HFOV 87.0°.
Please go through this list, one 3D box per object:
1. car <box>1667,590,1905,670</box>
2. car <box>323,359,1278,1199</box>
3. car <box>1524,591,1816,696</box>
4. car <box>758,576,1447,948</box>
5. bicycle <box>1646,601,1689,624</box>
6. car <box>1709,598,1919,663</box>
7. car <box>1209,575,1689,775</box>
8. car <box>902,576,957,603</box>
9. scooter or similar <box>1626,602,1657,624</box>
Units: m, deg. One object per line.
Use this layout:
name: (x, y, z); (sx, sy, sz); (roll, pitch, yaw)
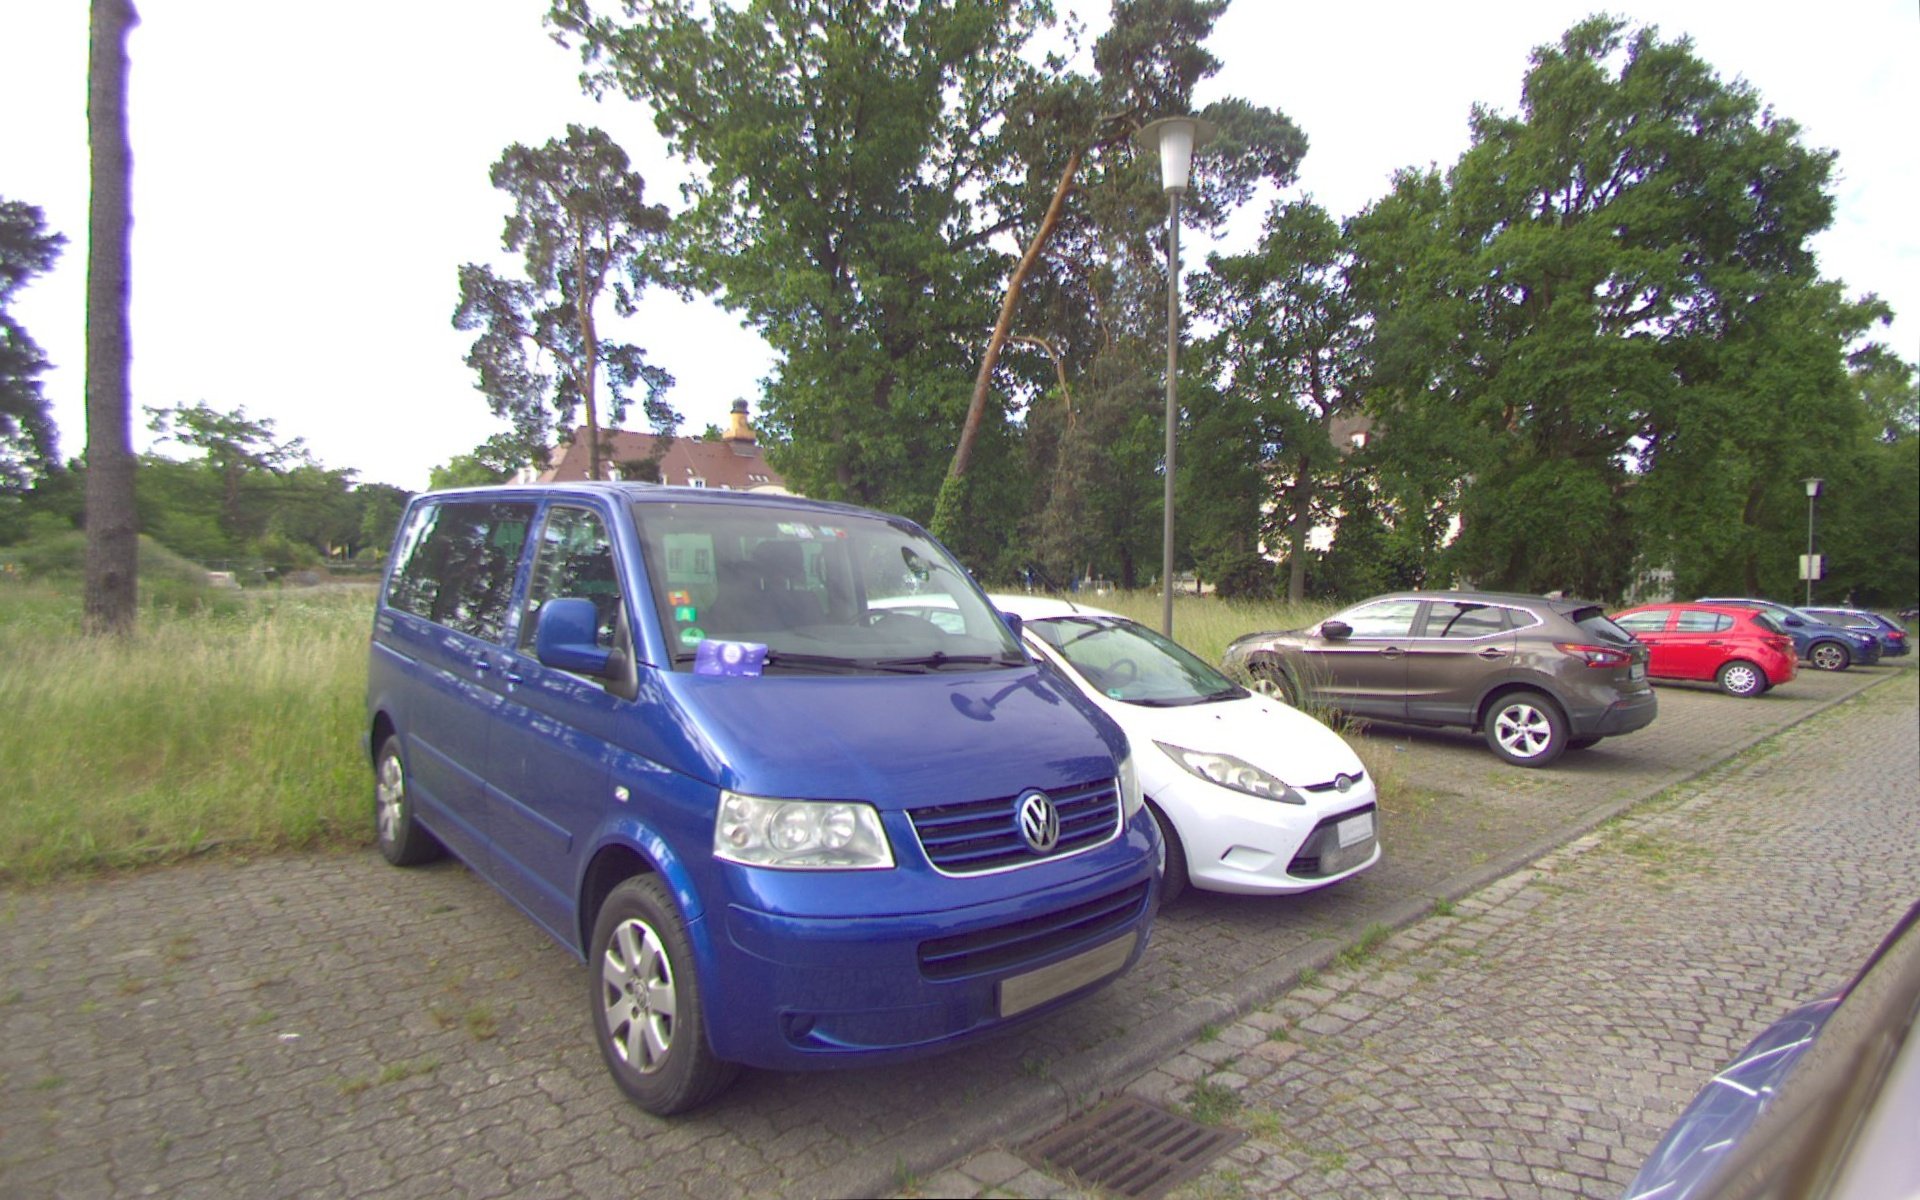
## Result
car: (19.928, 0.648, 24.549); (1.855, 1.643, 4.249); (1, 2, -44)
car: (-1.238, 0.385, 4.677); (1.934, 2.029, 4.800); (1, 2, -44)
car: (12.374, 0.664, 17.802); (1.755, 1.515, 3.927); (1, 2, -44)
car: (0.611, 0.664, 6.390); (1.694, 1.497, 4.100); (0, 2, -45)
bicycle: (38.043, 0.659, 54.434); (1.838, 1.185, 0.484); (1, 0, 22)
car: (23.399, 0.767, 27.657); (1.892, 1.457, 4.366); (1, 2, -40)
car: (5.029, 0.607, 10.822); (1.921, 1.614, 4.207); (0, 2, -44)
car: (-2.714, -0.955, 90.308); (4.856, 2.333, 1.920); (0, 1, -43)
scooter or similar: (36.482, 0.690, 54.187); (0.406, 1.185, 1.305); (0, -1, -43)
